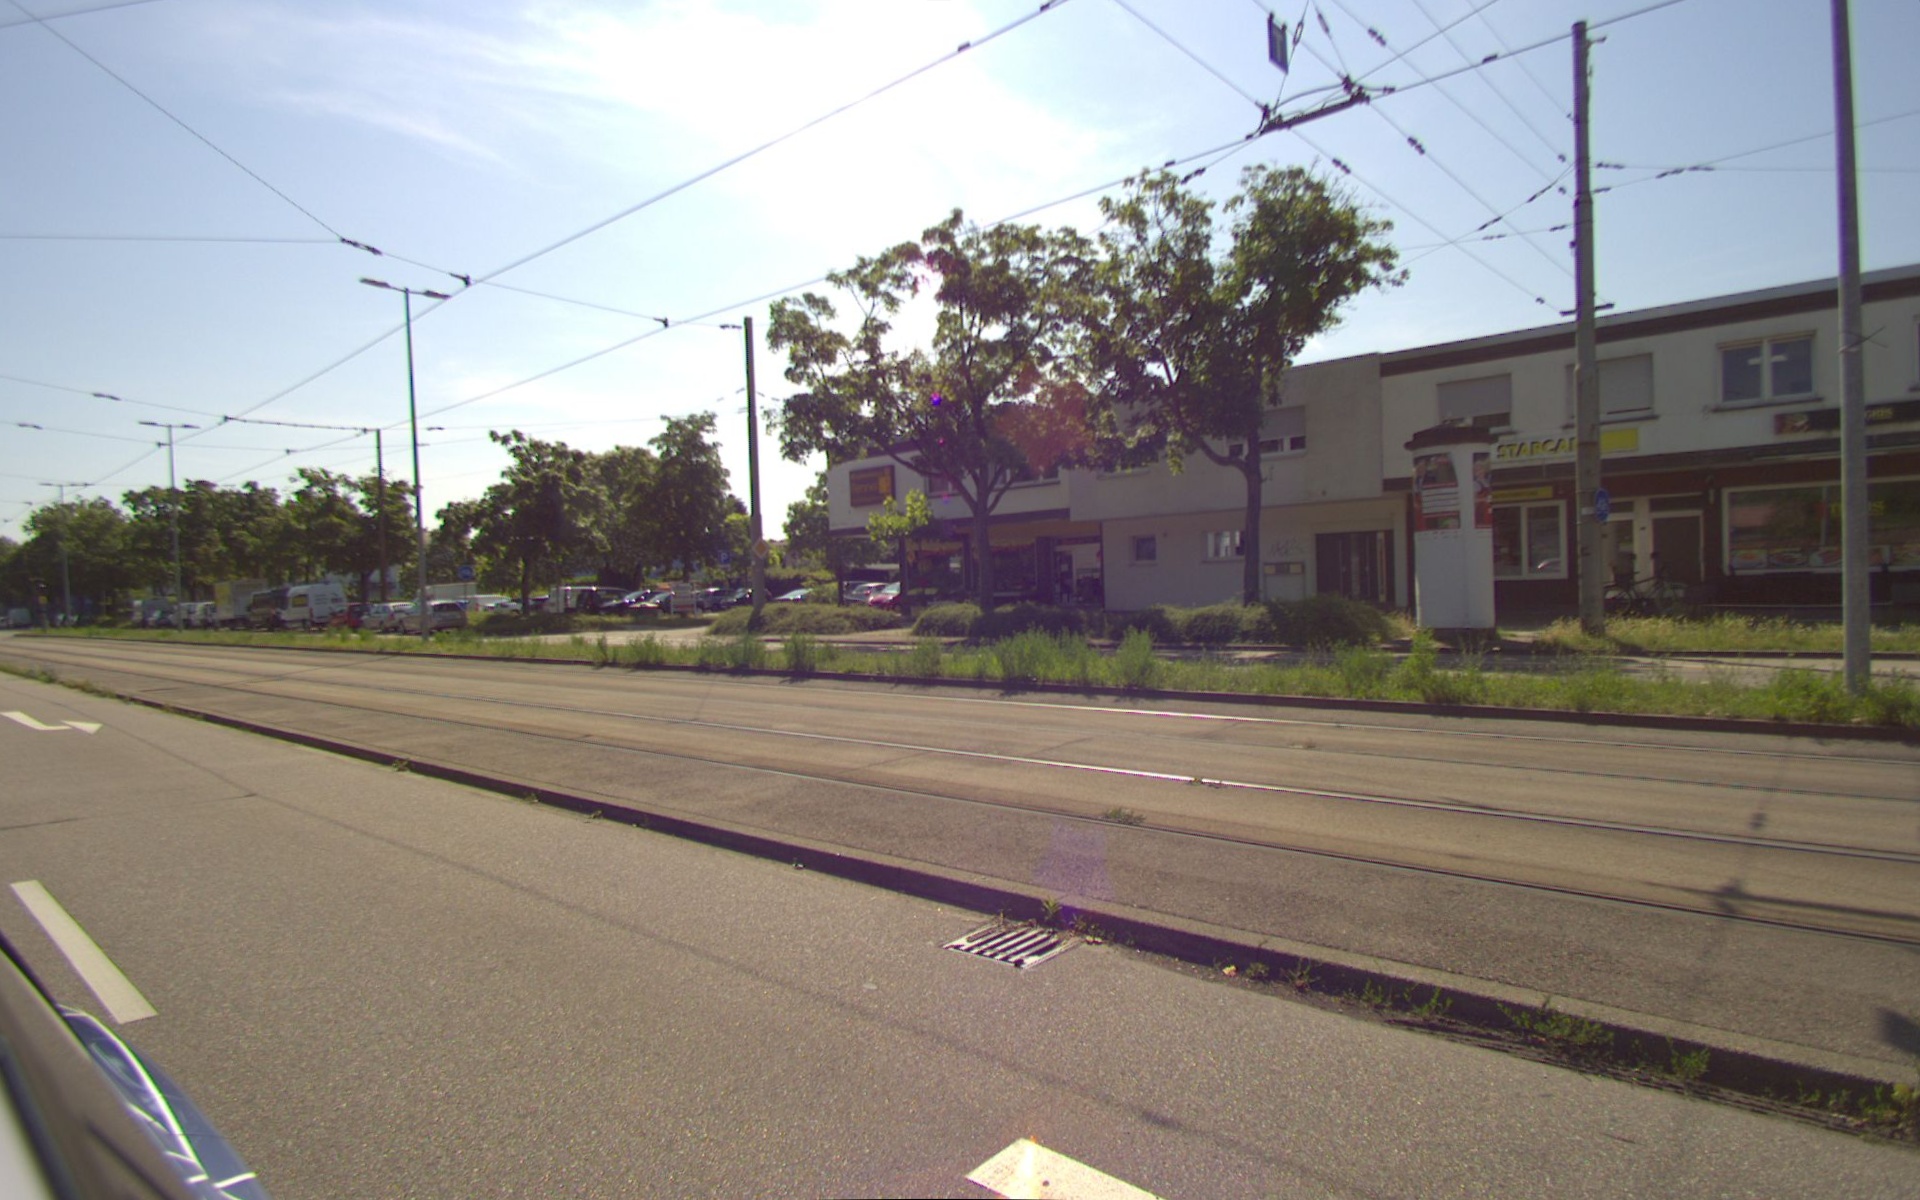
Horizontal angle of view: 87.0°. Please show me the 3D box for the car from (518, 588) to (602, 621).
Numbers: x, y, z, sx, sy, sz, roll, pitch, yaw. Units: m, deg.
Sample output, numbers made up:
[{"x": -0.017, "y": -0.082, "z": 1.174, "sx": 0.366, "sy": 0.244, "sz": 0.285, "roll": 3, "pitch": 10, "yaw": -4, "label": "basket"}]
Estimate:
[{"x": -23.316, "y": 0.223, "z": 59.094, "sx": 1.988, "sy": 1.751, "sz": 4.068, "roll": -2, "pitch": 1, "yaw": 38, "label": "car"}]

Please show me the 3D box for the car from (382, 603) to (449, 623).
[{"x": -41.331, "y": 0.973, "z": 76.873, "sx": 1.676, "sy": 1.345, "sz": 4.198, "roll": -2, "pitch": 1, "yaw": 41, "label": "car"}]

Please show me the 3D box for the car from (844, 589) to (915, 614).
[{"x": -4.833, "y": 0.052, "z": 61.045, "sx": 1.676, "sy": 1.345, "sz": 4.197, "roll": -1, "pitch": 1, "yaw": 42, "label": "car"}]

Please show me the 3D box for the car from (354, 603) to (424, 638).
[{"x": -28.438, "y": 1.008, "z": 50.369, "sx": 4.255, "sy": 1.544, "sz": 1.654, "roll": -1, "pitch": 4, "yaw": 41, "label": "car"}]

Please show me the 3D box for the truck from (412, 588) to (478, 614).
[{"x": -52.130, "y": 0.070, "z": 102.536, "sx": 1.988, "sy": 2.398, "sz": 5.584, "roll": -2, "pitch": 1, "yaw": 38, "label": "truck"}]

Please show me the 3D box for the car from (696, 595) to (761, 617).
[{"x": -16.154, "y": 0.384, "z": 70.745, "sx": 1.676, "sy": 1.345, "sz": 4.197, "roll": -1, "pitch": 1, "yaw": 42, "label": "car"}]

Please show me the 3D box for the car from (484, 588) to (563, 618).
[{"x": -27.301, "y": 0.178, "z": 63.429, "sx": 1.988, "sy": 1.751, "sz": 4.068, "roll": -2, "pitch": 1, "yaw": 38, "label": "car"}]

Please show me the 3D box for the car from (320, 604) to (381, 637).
[{"x": -32.375, "y": 1.092, "z": 53.725, "sx": 3.791, "sy": 1.544, "sz": 1.654, "roll": -1, "pitch": 4, "yaw": 41, "label": "car"}]

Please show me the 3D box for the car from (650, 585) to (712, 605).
[{"x": -20.381, "y": -0.395, "z": 74.107, "sx": 1.674, "sy": 1.345, "sz": 4.201, "roll": -2, "pitch": 1, "yaw": 39, "label": "car"}]

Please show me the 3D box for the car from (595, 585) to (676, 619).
[{"x": -17.246, "y": 0.095, "z": 53.854, "sx": 1.676, "sy": 1.646, "sz": 3.761, "roll": -2, "pitch": 1, "yaw": 43, "label": "car"}]

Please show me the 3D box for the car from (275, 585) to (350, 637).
[{"x": -36.532, "y": 0.645, "z": 57.016, "sx": 5.201, "sy": 2.673, "sz": 2.036, "roll": -1, "pitch": 4, "yaw": 41, "label": "car"}]

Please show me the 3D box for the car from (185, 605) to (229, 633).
[{"x": -53.963, "y": 1.359, "z": 72.527, "sx": 4.631, "sy": 1.817, "sz": 1.483, "roll": -1, "pitch": 4, "yaw": 41, "label": "car"}]

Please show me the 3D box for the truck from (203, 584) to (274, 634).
[{"x": -47.780, "y": 0.600, "z": 66.971, "sx": 5.902, "sy": 2.956, "sz": 2.476, "roll": -1, "pitch": 4, "yaw": 42, "label": "truck"}]

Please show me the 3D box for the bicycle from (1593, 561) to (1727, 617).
[{"x": 15.384, "y": -0.225, "z": 22.294, "sx": 2.333, "sy": 1.161, "sz": 0.779, "roll": -1, "pitch": -1, "yaw": 42, "label": "bicycle"}]

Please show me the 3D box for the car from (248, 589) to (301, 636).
[{"x": -41.250, "y": 0.745, "z": 60.862, "sx": 4.005, "sy": 2.643, "sz": 1.483, "roll": -1, "pitch": 4, "yaw": 41, "label": "car"}]

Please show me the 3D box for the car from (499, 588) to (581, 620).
[{"x": -25.182, "y": 0.208, "z": 60.770, "sx": 1.988, "sy": 1.751, "sz": 4.068, "roll": -2, "pitch": 1, "yaw": 38, "label": "car"}]

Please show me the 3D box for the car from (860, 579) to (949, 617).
[{"x": -2.556, "y": -0.103, "z": 47.370, "sx": 1.676, "sy": 1.616, "sz": 4.197, "roll": -2, "pitch": 1, "yaw": 42, "label": "car"}]

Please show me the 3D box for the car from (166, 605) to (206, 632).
[{"x": -59.060, "y": 1.419, "z": 77.214, "sx": 4.056, "sy": 1.859, "sz": 1.484, "roll": -2, "pitch": 4, "yaw": 40, "label": "car"}]

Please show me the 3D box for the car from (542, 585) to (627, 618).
[{"x": -21.351, "y": 0.061, "z": 57.667, "sx": 1.988, "sy": 1.751, "sz": 4.068, "roll": -2, "pitch": 1, "yaw": 38, "label": "car"}]

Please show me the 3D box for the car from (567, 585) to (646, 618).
[{"x": -19.474, "y": 0.071, "z": 55.852, "sx": 1.676, "sy": 1.646, "sz": 3.761, "roll": -2, "pitch": 1, "yaw": 43, "label": "car"}]

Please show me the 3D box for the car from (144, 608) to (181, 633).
[{"x": -63.666, "y": 1.626, "z": 80.818, "sx": 3.685, "sy": 1.799, "sz": 1.484, "roll": -2, "pitch": 4, "yaw": 40, "label": "car"}]

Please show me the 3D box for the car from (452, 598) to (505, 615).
[{"x": -45.190, "y": 0.607, "z": 95.077, "sx": 1.676, "sy": 1.345, "sz": 4.198, "roll": -2, "pitch": 1, "yaw": 41, "label": "car"}]

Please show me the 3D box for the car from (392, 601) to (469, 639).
[{"x": -24.456, "y": 0.922, "z": 46.709, "sx": 4.255, "sy": 1.544, "sz": 1.654, "roll": -1, "pitch": 4, "yaw": 41, "label": "car"}]

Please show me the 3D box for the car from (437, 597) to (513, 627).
[{"x": -32.569, "y": 0.834, "z": 67.852, "sx": 5.739, "sy": 1.825, "sz": 2.560, "roll": -1, "pitch": 1, "yaw": 42, "label": "car"}]

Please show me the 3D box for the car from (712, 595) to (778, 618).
[{"x": -14.620, "y": 0.434, "z": 68.979, "sx": 1.676, "sy": 1.345, "sz": 4.197, "roll": -1, "pitch": 1, "yaw": 42, "label": "car"}]
